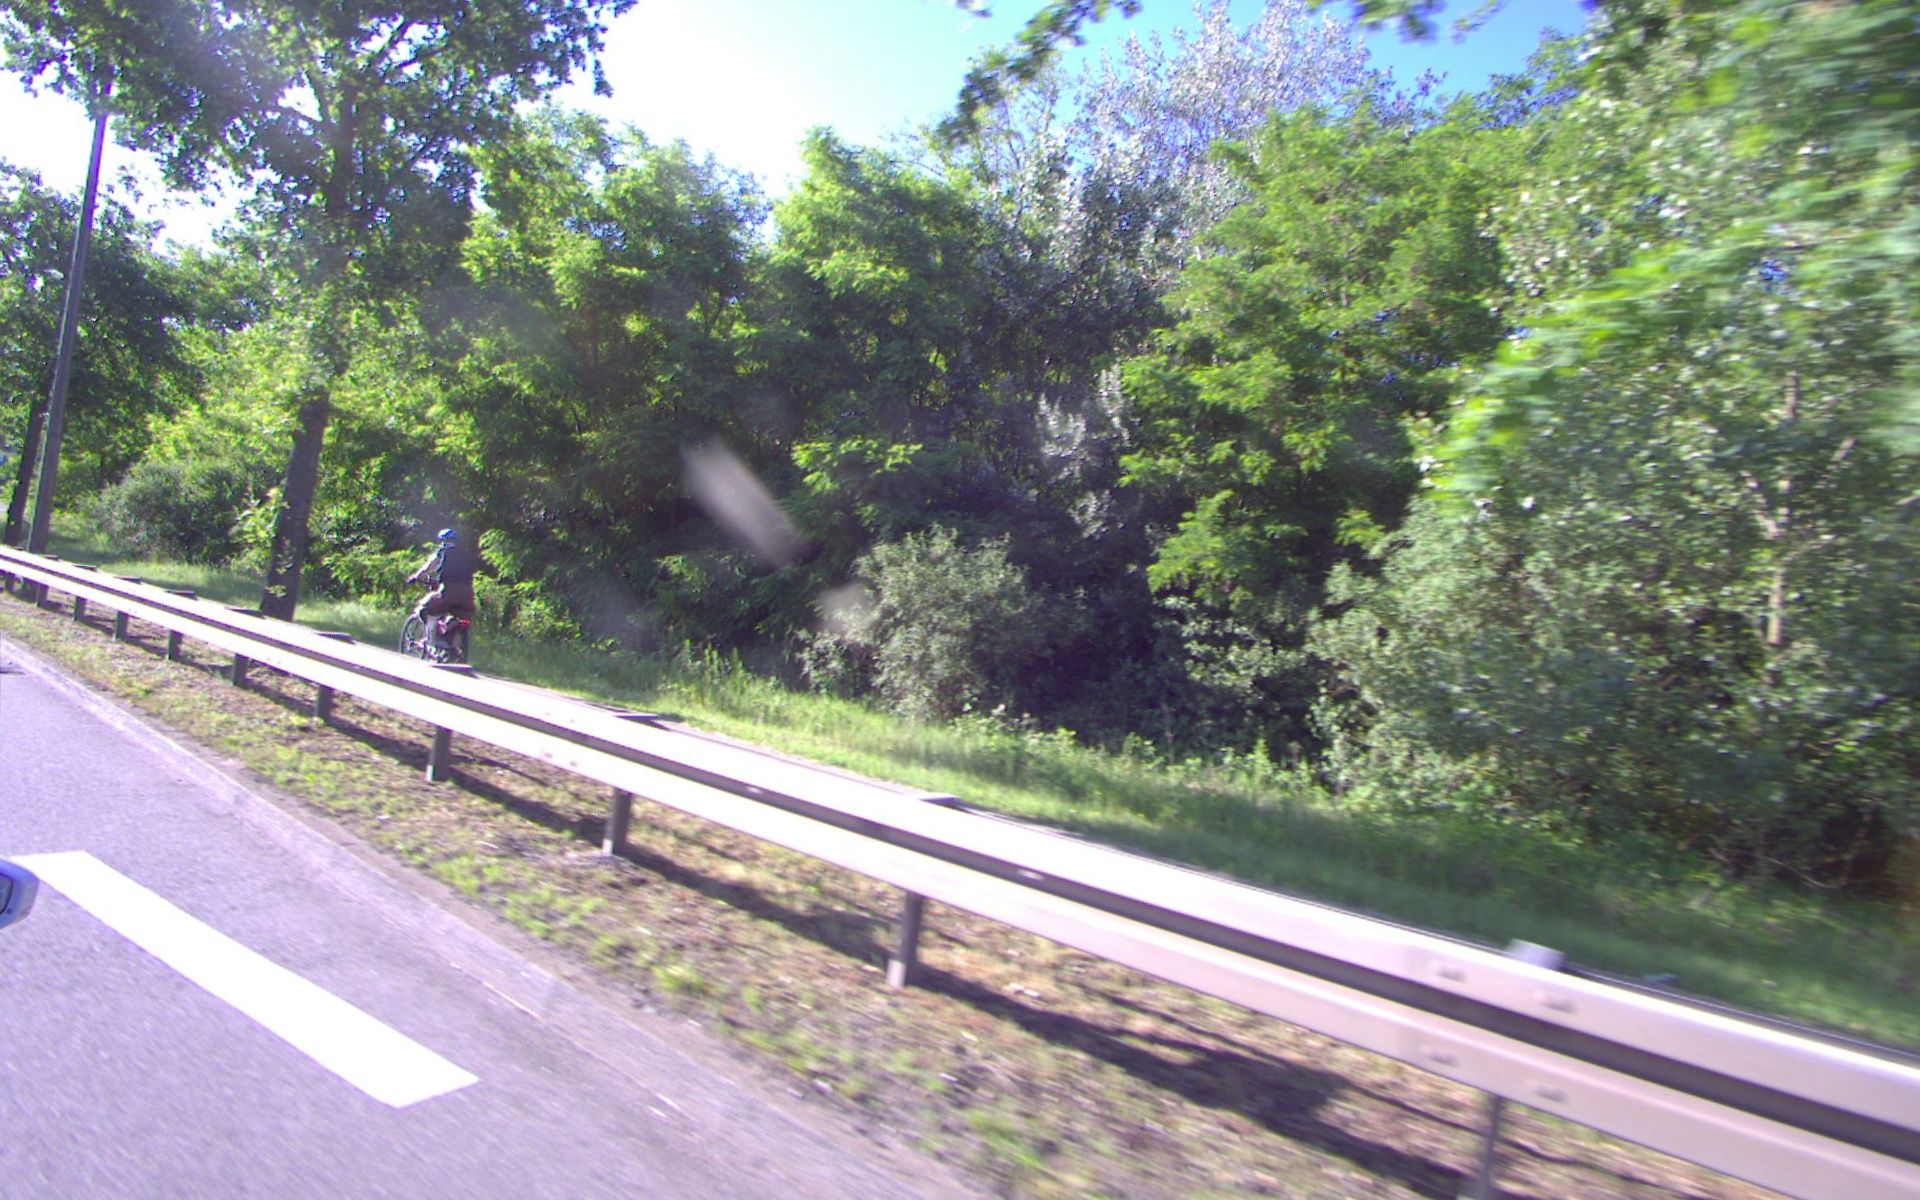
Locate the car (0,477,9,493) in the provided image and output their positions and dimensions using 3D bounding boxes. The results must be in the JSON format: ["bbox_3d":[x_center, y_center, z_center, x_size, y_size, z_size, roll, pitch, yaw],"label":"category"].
[{"bbox_3d":[-97.446,-11.724,100.890,1.693,1.540,3.721,10,-1,-23],"label":"car"}]

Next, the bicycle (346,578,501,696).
[{"bbox_3d":[-6.132,0.408,11.453,1.891,1.088,0.701,7,1,35],"label":"bicycle"}]

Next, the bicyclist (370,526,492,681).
[{"bbox_3d":[-5.974,0.043,11.358,0.989,1.598,0.707,8,1,35],"label":"bicyclist"}]

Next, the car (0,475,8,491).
[{"bbox_3d":[-97.456,-11.936,100.783,1.693,1.540,3.721,10,-1,-23],"label":"car"}]
